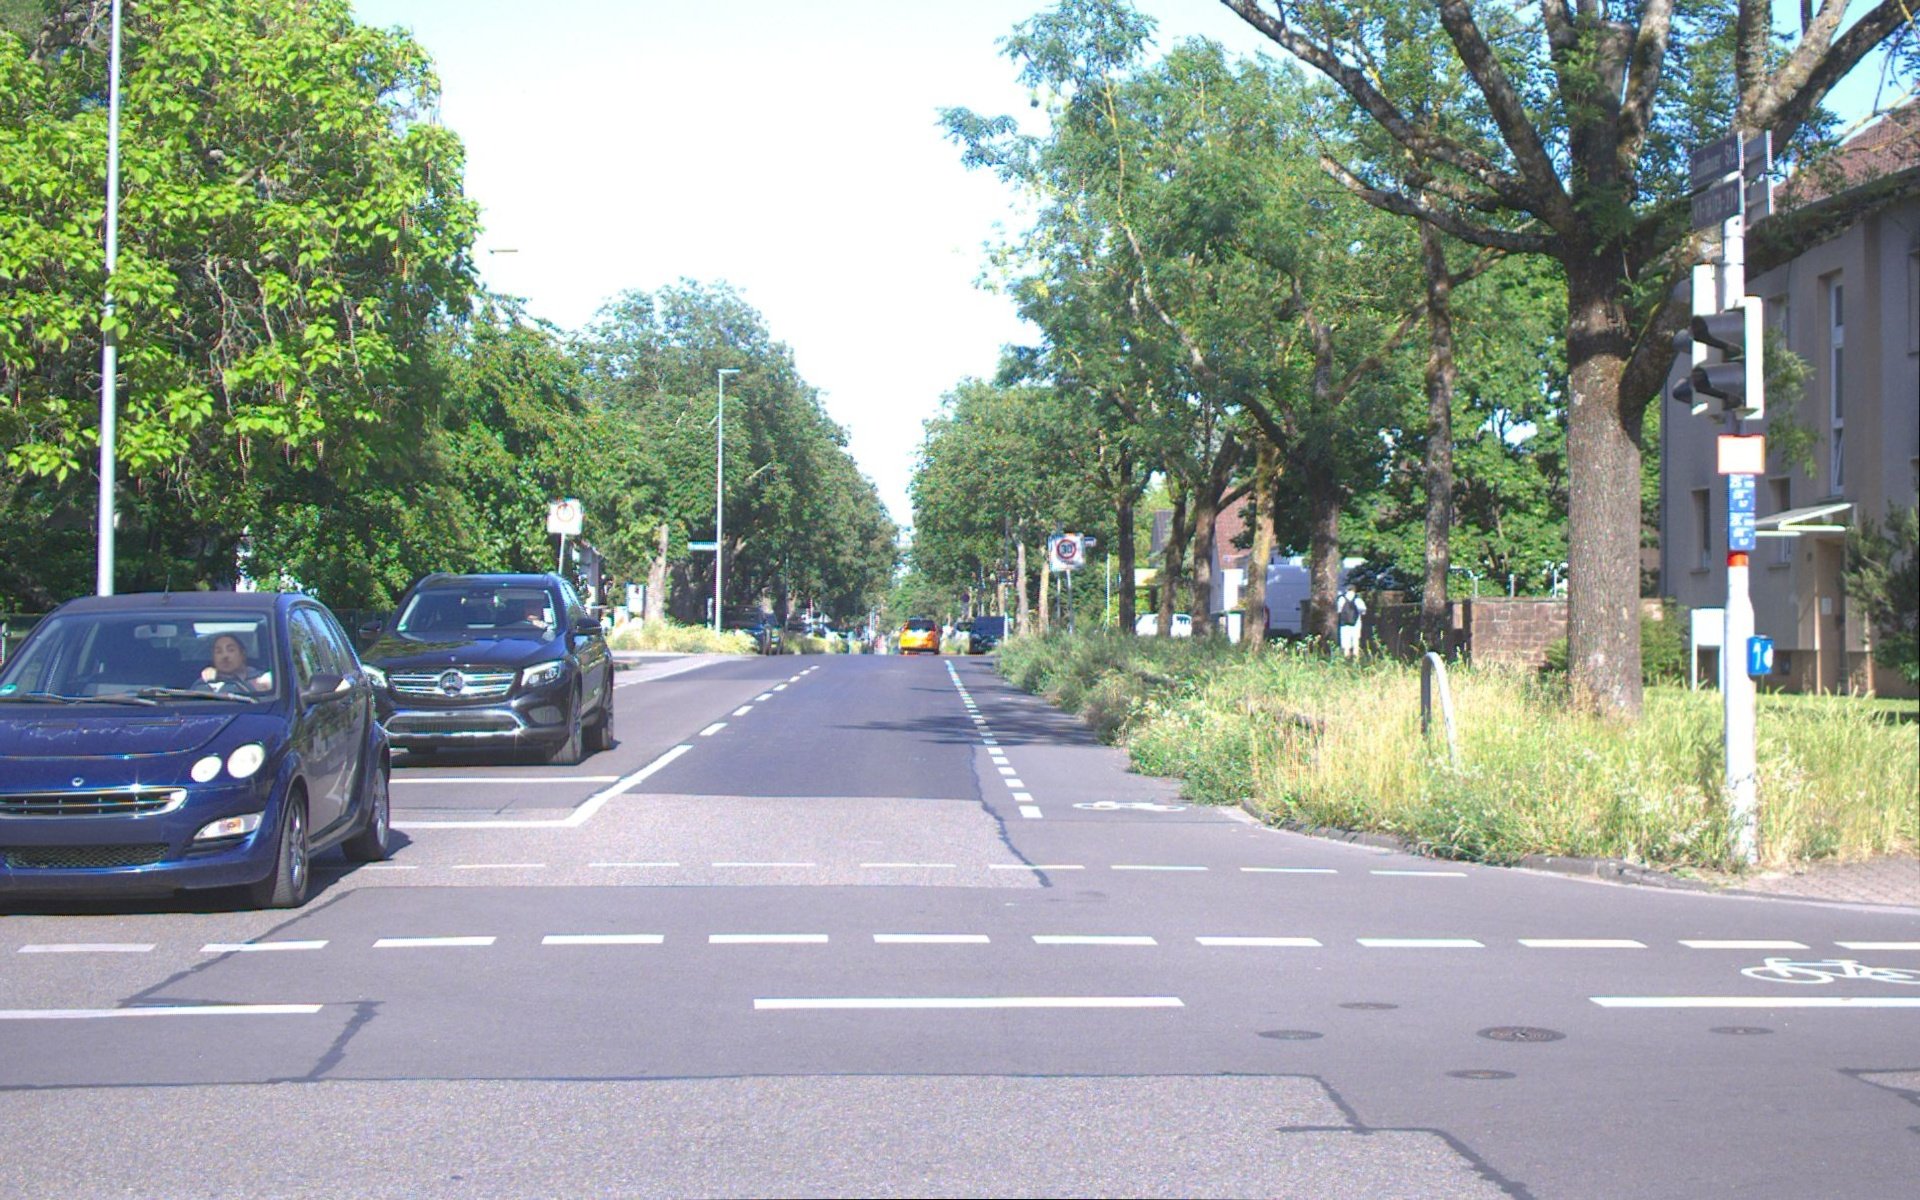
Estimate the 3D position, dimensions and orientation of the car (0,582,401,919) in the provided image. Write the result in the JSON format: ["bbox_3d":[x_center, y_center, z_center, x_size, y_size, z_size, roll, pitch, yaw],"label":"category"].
[{"bbox_3d":[-3.917,0.687,16.871,1.806,1.450,3.850,-1,-1,-1],"label":"car"}]

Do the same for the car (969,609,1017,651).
[{"bbox_3d":[1.333,1.233,140.374,1.853,1.620,4.469,-1,-1,-1],"label":"car"}]

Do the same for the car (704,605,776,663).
[{"bbox_3d":[-7.095,1.134,111.356,1.953,1.721,4.874,2,-2,0],"label":"car"}]

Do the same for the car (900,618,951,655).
[{"bbox_3d":[-1.481,1.572,146.998,1.887,1.474,3.888,3,-1,-4],"label":"car"}]

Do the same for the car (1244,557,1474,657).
[{"bbox_3d":[10.330,0.188,89.270,5.594,2.530,2.266,0,0,-4],"label":"car"}]

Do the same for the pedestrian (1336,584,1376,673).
[{"bbox_3d":[7.759,0.555,67.320,0.637,1.700,0.612,-2,1,-2],"label":"pedestrian"}]

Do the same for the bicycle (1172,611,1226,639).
[{"bbox_3d":[8.962,0.933,129.068,1.957,0.995,0.576,-1,1,-2],"label":"bicycle"}]

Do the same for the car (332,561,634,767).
[{"bbox_3d":[-4.029,0.497,29.737,1.815,1.612,4.392,-1,0,2],"label":"car"}]
